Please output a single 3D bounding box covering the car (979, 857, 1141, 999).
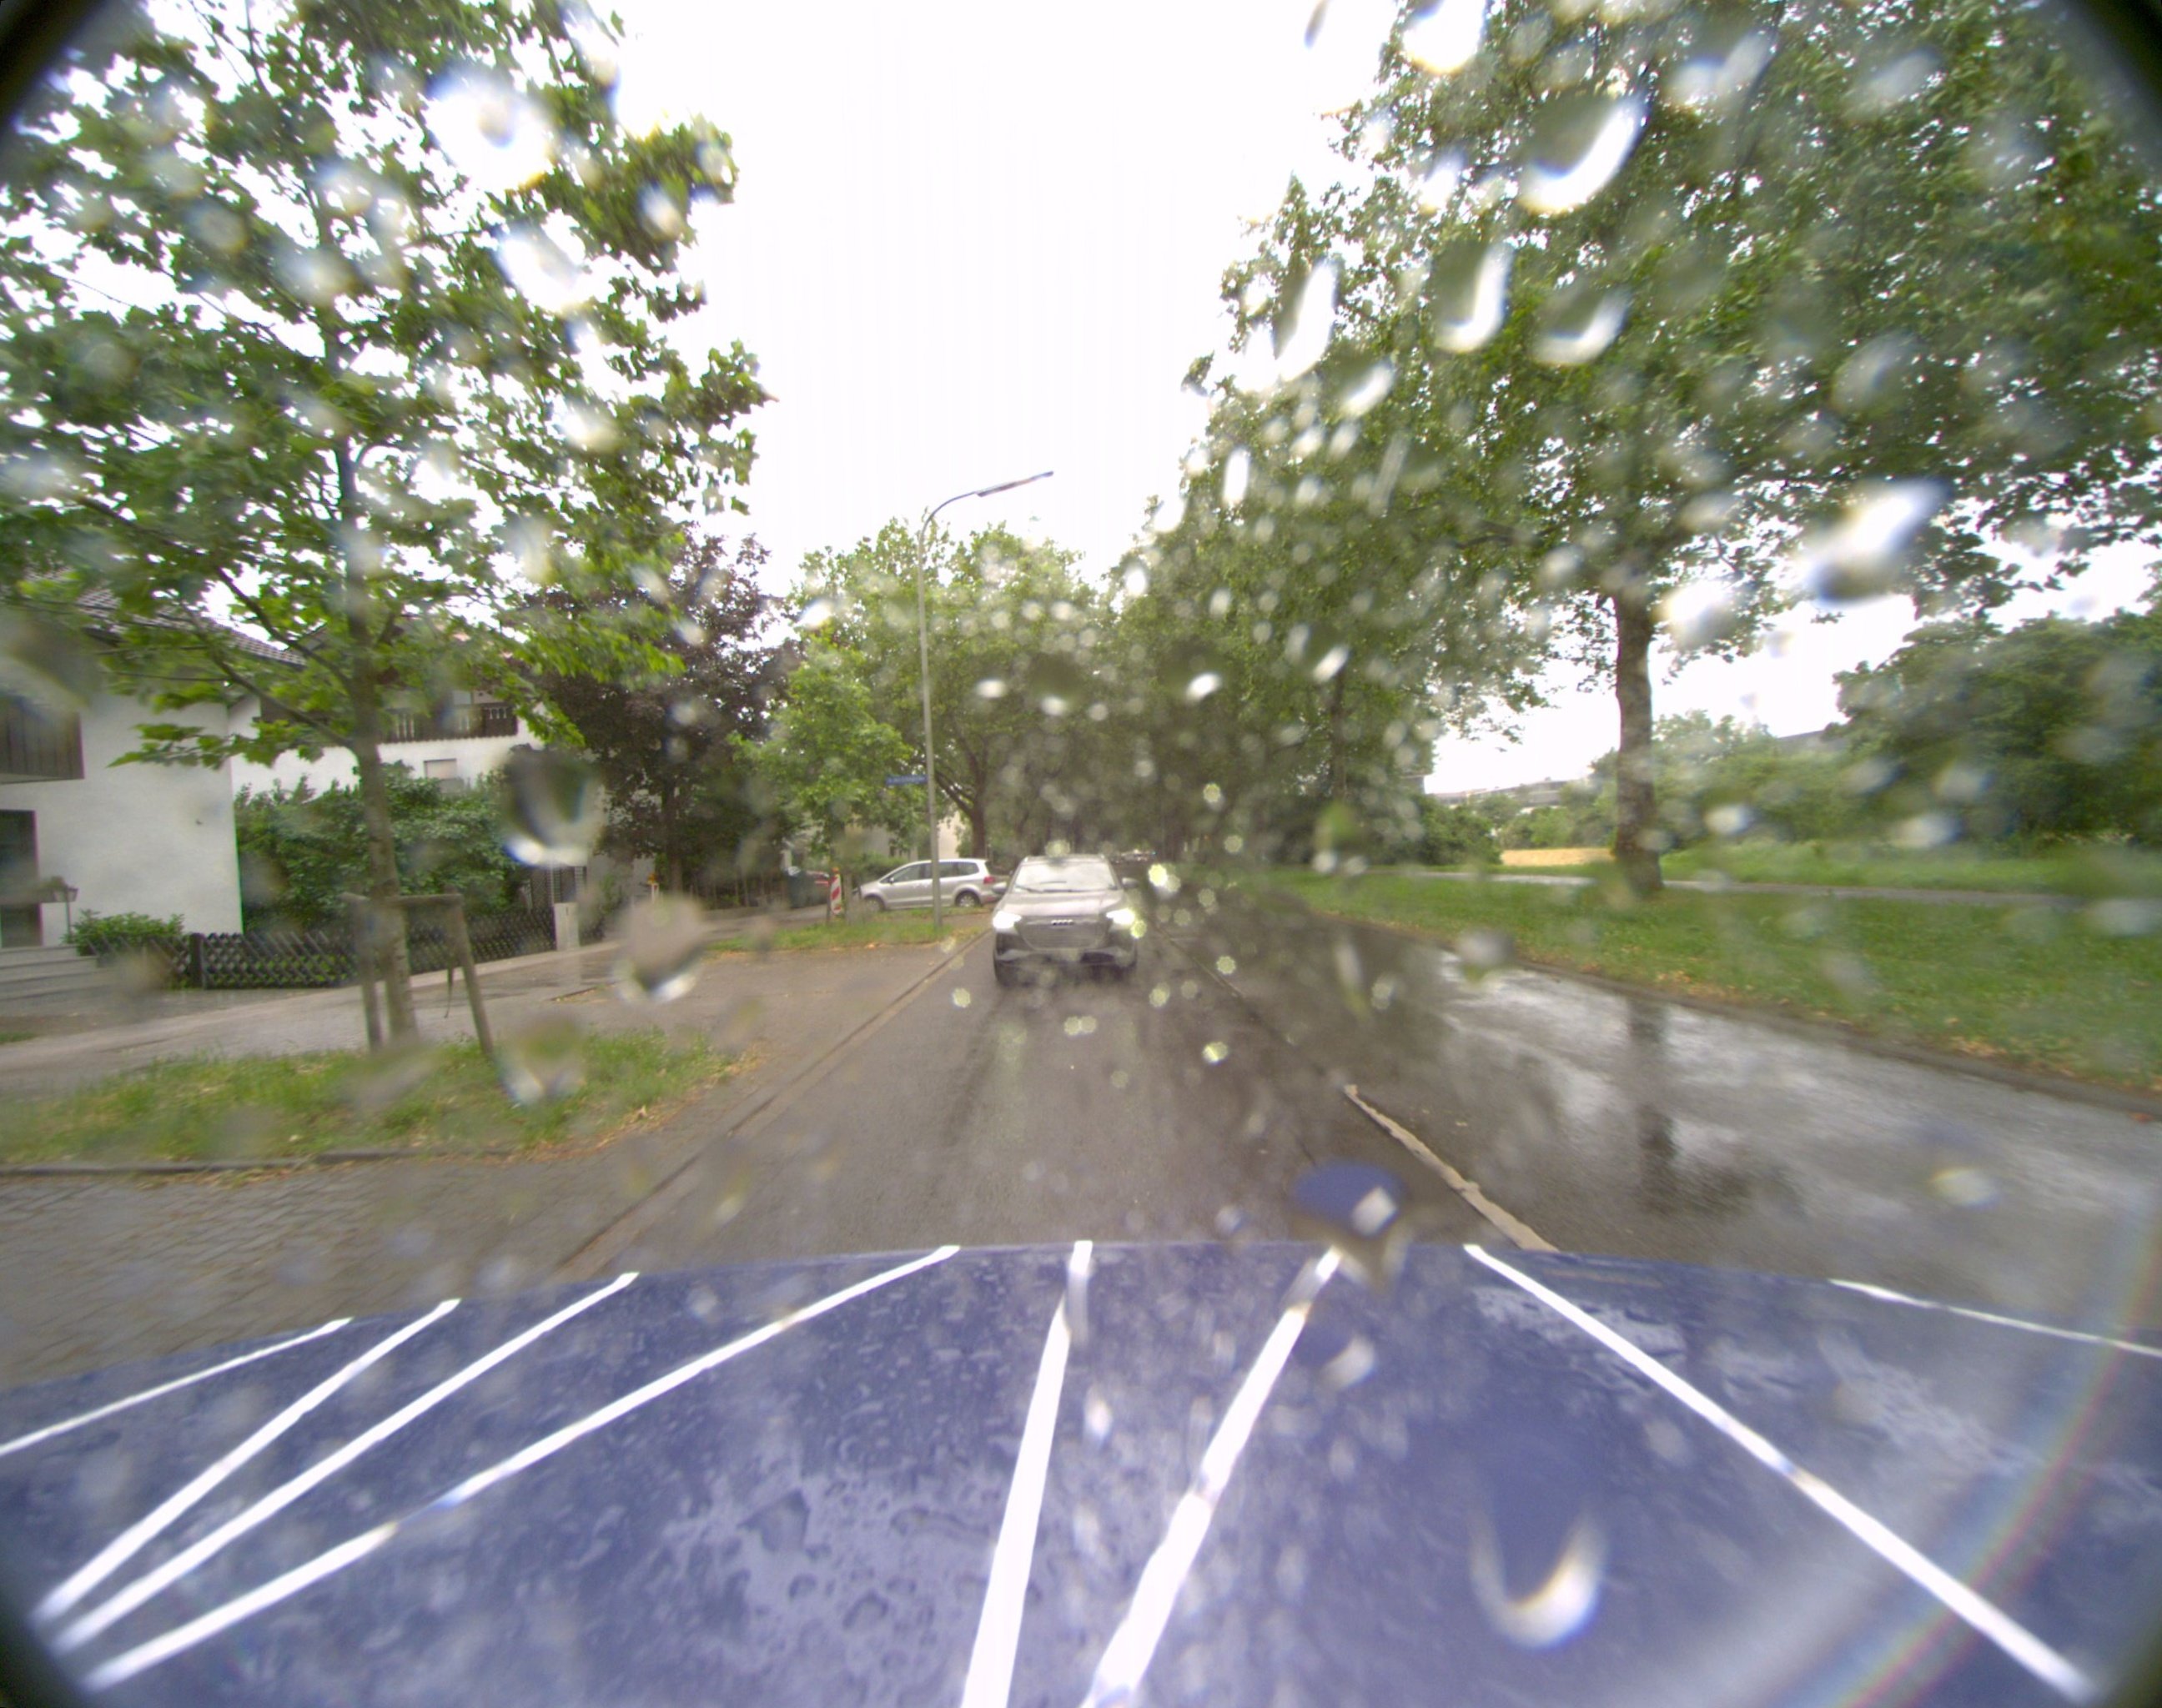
[{"bbox_3d":[-0.215,0.891,11.266,1.862,1.608,4.424,-3,0,1],"label":"car"}]

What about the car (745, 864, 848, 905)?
[{"bbox_3d":[-12.711,1.363,34.138,3.853,1.603,1.843,-3,0,2],"label":"car"}]

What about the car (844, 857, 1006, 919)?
[{"bbox_3d":[-4.850,1.040,24.192,4.701,1.651,1.976,-3,0,-1],"label":"car"}]
